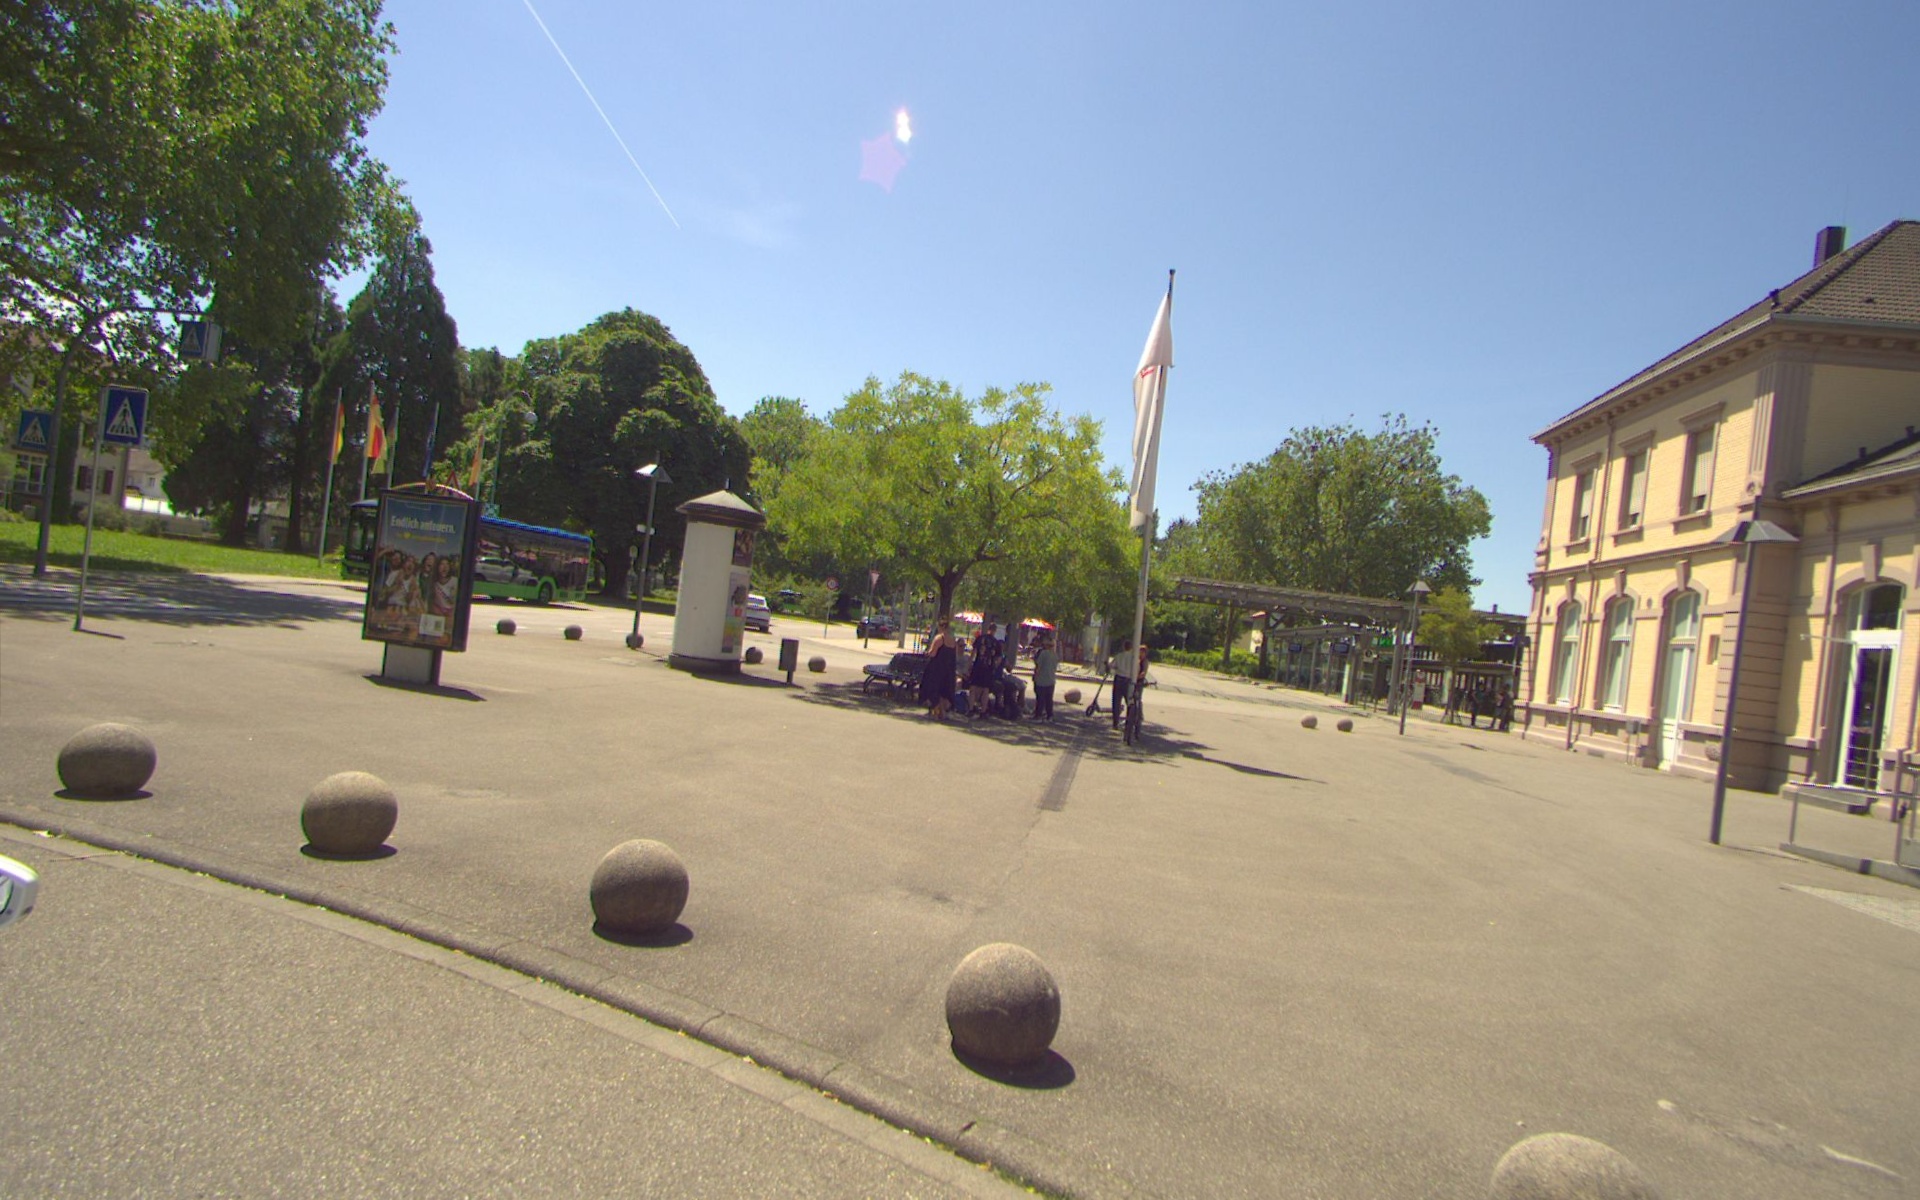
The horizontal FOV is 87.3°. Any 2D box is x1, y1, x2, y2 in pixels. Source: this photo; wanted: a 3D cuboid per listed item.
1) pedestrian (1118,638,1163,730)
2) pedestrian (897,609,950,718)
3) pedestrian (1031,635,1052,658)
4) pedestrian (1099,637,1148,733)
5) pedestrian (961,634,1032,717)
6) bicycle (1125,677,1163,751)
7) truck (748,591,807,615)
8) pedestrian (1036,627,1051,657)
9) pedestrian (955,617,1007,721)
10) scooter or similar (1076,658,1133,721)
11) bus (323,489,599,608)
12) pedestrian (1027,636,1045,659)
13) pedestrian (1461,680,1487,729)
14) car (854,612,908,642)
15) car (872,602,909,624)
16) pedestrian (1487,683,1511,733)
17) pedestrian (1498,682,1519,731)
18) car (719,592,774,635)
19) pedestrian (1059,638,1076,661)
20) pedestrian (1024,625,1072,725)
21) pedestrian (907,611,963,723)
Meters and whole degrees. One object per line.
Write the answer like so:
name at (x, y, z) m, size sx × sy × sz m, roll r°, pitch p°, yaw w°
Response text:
pedestrian at (3.526, 1.635, 19.678) m, size 0.545 × 1.705 × 0.587 m, roll 7°, pitch 0°, yaw -3°
pedestrian at (-0.630, 1.092, 17.406) m, size 0.681 × 1.785 × 0.585 m, roll 7°, pitch 0°, yaw -2°
pedestrian at (4.747, 2.715, 58.499) m, size 0.884 × 1.175 × 0.684 m, roll 7°, pitch 0°, yaw -25°
pedestrian at (3.086, 1.602, 19.066) m, size 0.608 × 1.705 × 0.591 m, roll 7°, pitch 0°, yaw -3°
pedestrian at (0.686, 1.416, 19.066) m, size 0.900 × 1.403 × 0.940 m, roll 7°, pitch 0°, yaw -20°
bicycle at (3.141, 1.920, 17.278) m, size 0.413 × 1.072 × 1.950 m, roll 7°, pitch -1°, yaw 8°
truck at (-26.656, 0.371, 146.540) m, size 2.272 × 2.377 × 11.222 m, roll 8°, pitch -1°, yaw -45°
pedestrian at (5.133, 2.562, 61.942) m, size 0.675 × 1.758 × 0.708 m, roll 7°, pitch 0°, yaw 10°
pedestrian at (0.374, 1.220, 17.970) m, size 0.576 × 1.761 × 0.598 m, roll 7°, pitch 0°, yaw -16°
scooter or similar at (2.969, 1.835, 20.650) m, size 1.009 × 1.153 × 0.294 m, roll 7°, pitch 0°, yaw 2°
bus at (-18.981, -1.675, 39.903) m, size 2.764 × 3.322 × 12.434 m, roll 7°, pitch -1°, yaw 9°
pedestrian at (4.135, 2.571, 54.521) m, size 0.675 × 1.175 × 0.895 m, roll 7°, pitch 0°, yaw 14°
pedestrian at (20.285, 4.121, 39.729) m, size 0.679 × 1.831 × 0.630 m, roll 7°, pitch 0°, yaw 31°
car at (-4.372, 1.531, 56.165) m, size 1.896 × 1.478 × 4.729 m, roll 4°, pitch -2°, yaw 9°
car at (-9.013, 1.670, 130.706) m, size 2.193 × 2.199 × 4.829 m, roll 7°, pitch -1°, yaw -39°
pedestrian at (20.934, 4.175, 39.050) m, size 0.621 × 1.831 × 0.595 m, roll 7°, pitch 0°, yaw 30°
pedestrian at (21.485, 4.157, 39.395) m, size 0.542 × 1.831 × 0.497 m, roll 7°, pitch 0°, yaw 30°
car at (-10.051, 0.583, 47.099) m, size 1.959 × 1.646 × 4.762 m, roll 7°, pitch -1°, yaw -17°
pedestrian at (6.216, 2.860, 57.955) m, size 0.747 × 1.219 × 0.738 m, roll 9°, pitch -1°, yaw 10°
pedestrian at (1.633, 1.392, 18.723) m, size 0.505 × 1.761 × 0.568 m, roll 7°, pitch 0°, yaw -20°
pedestrian at (-0.424, 1.109, 16.749) m, size 0.618 × 1.761 × 0.546 m, roll 7°, pitch 0°, yaw -16°
